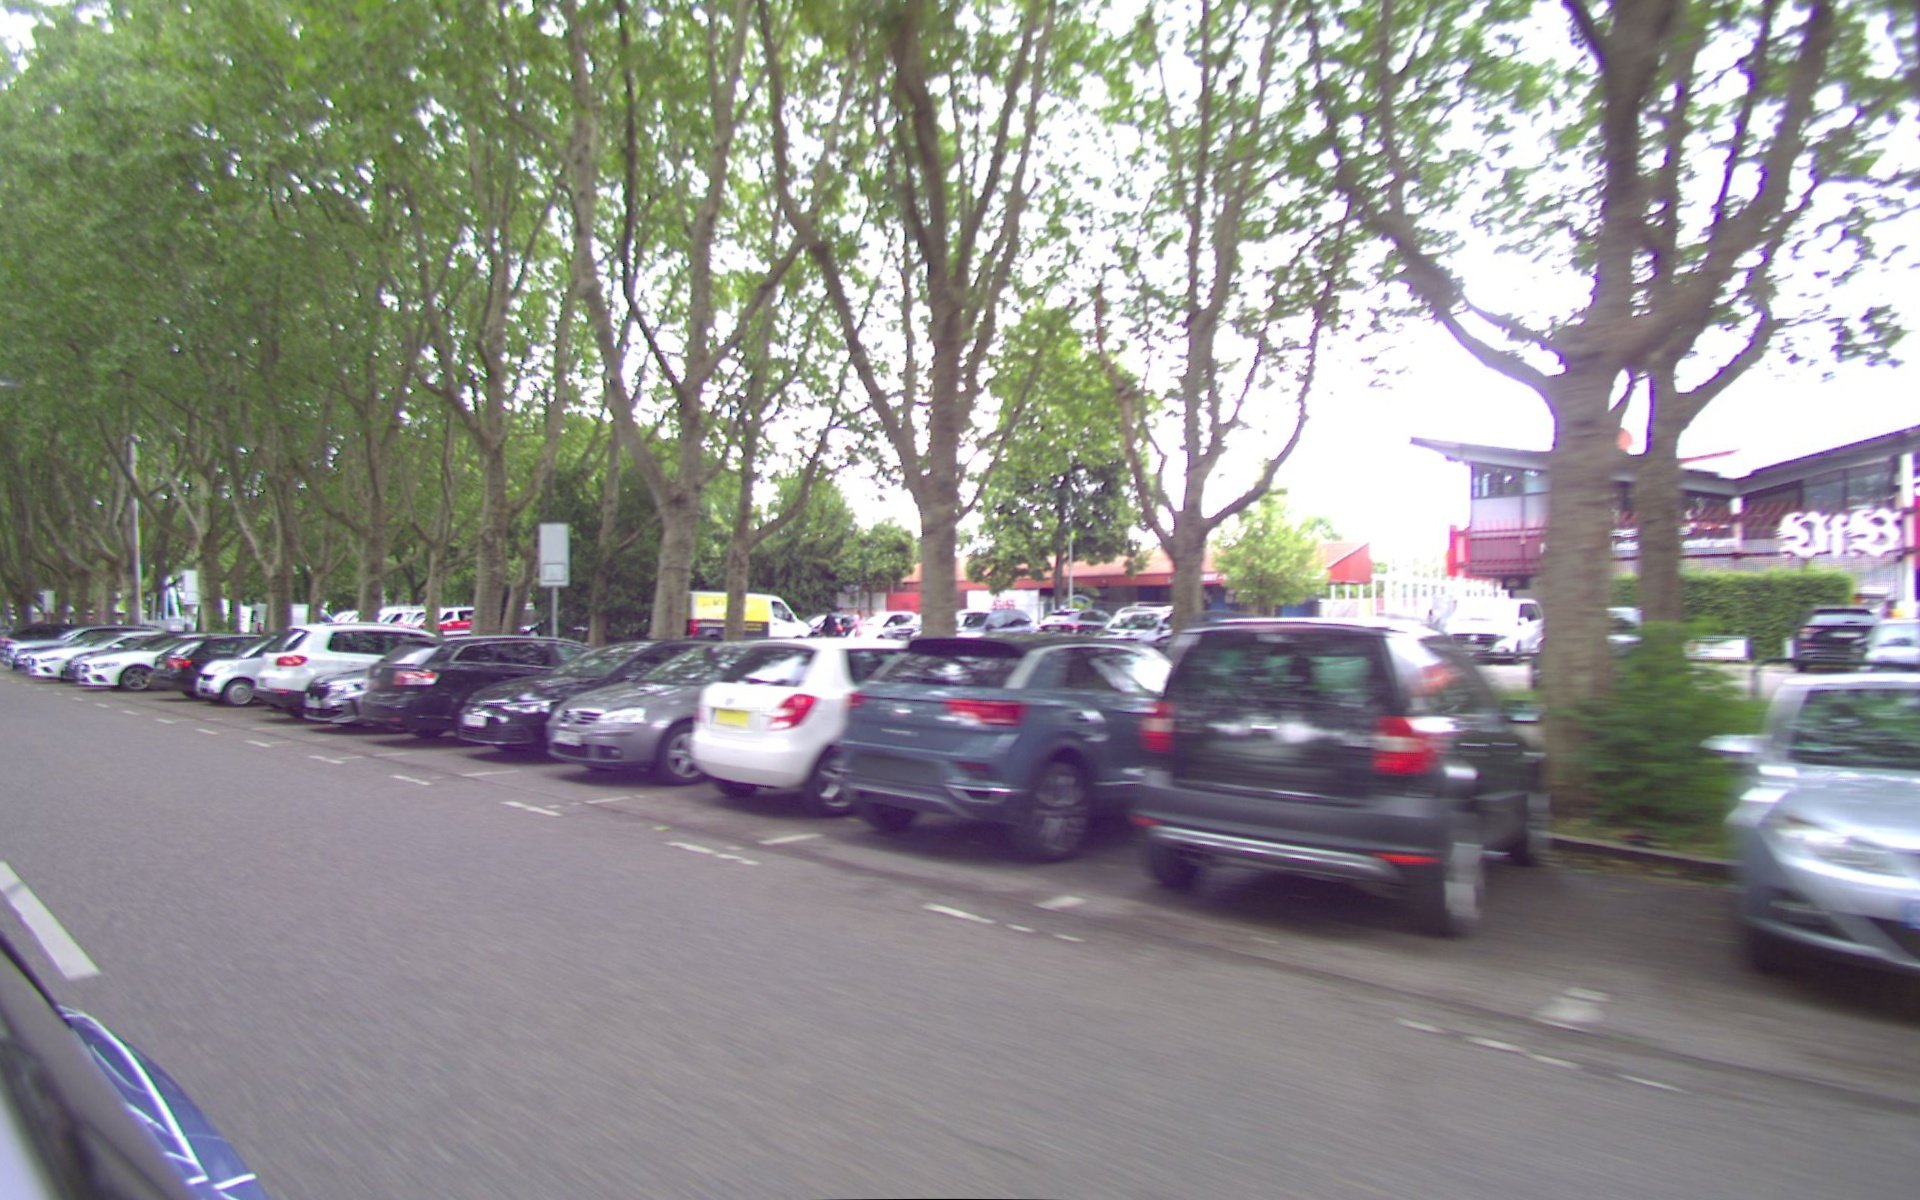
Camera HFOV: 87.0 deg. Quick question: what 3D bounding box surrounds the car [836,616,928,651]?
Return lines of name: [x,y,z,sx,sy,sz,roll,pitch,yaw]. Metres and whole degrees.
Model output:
car: [-3.557,1.532,46.571,1.990,1.460,3.946,-2,-1,41]

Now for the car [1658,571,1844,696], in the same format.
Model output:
car: [13.351,0.491,17.170,2.180,1.810,4.894,-1,0,38]

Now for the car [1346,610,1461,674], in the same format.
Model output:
car: [14.046,1.256,31.909,2.180,1.810,4.894,-1,0,38]

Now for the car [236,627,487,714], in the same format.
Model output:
car: [-11.780,1.309,20.102,1.855,1.464,3.945,-1,-1,42]

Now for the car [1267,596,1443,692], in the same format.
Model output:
car: [8.528,0.832,21.590,2.180,1.810,4.894,-1,0,38]

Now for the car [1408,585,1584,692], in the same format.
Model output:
car: [10.531,0.704,19.678,2.180,1.810,4.894,-2,-2,38]

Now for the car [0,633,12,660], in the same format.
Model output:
car: [-54.117,2.480,54.869,1.847,1.486,3.796,-2,-4,42]

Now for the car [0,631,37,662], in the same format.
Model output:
car: [-48.362,2.279,50.062,1.675,1.550,3.796,-2,-4,42]

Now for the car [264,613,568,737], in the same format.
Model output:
car: [-8.660,1.087,16.351,1.855,1.695,3.945,-1,-1,42]

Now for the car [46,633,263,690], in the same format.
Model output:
car: [-21.787,1.643,27.521,1.783,1.428,4.360,-2,-4,42]

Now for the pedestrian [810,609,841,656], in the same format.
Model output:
pedestrian: [-5.328,1.274,39.995,0.917,1.814,0.808,-1,-1,41]

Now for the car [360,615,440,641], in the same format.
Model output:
car: [-46.862,2.325,84.721,2.391,2.036,5.399,-1,-1,38]

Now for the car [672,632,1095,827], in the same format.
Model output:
car: [-0.571,1.097,9.830,3.947,1.497,1.704,3,-4,-45]

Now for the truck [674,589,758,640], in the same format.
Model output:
truck: [-13.630,0.776,56.674,2.374,2.737,3.947,-1,-1,39]

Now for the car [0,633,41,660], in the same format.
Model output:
car: [-52.074,2.471,53.825,2.090,1.445,4.515,-2,-4,42]

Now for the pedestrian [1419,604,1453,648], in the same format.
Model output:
pedestrian: [18.193,0.977,38.707,0.987,1.670,0.830,-1,-1,40]

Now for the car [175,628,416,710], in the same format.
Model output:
car: [-13.977,1.380,21.449,1.855,1.464,3.945,-1,-1,42]

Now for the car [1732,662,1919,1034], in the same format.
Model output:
car: [5.161,1.030,5.144,1.825,1.375,3.891,-2,-3,39]

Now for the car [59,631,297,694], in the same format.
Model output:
car: [-19.825,1.569,25.848,2.042,1.455,4.370,-1,-3,34]

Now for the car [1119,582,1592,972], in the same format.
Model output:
car: [2.778,0.878,6.568,1.750,1.721,3.891,-2,-3,39]

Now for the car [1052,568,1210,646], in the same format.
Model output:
car: [4.388,0.259,25.383,1.998,1.734,4.508,-1,-3,38]

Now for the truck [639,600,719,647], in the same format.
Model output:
truck: [-16.022,1.302,57.827,2.121,2.628,3.945,-1,-1,41]

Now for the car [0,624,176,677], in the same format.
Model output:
car: [-29.377,1.688,34.035,2.044,1.639,4.367,-2,-3,37]

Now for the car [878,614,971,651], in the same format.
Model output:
car: [-1.511,1.420,44.644,1.936,1.521,3.946,-2,-1,41]

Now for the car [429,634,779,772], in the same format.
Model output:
car: [-4.469,1.193,13.170,1.842,1.379,3.948,-1,0,39]

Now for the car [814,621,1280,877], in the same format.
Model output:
car: [0.894,0.985,8.104,1.728,1.528,3.888,-2,-4,42]

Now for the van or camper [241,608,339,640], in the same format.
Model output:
van or camper: [-46.428,1.646,70.225,2.242,2.115,5.234,-1,-1,38]

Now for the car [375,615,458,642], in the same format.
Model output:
car: [-43.609,2.272,81.283,2.473,2.013,5.399,-1,0,38]

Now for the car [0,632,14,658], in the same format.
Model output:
car: [-57.677,2.604,58.667,1.873,1.525,3.943,-2,-4,42]

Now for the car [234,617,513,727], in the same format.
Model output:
car: [-10.364,1.169,18.086,1.855,1.695,3.945,-1,-1,42]

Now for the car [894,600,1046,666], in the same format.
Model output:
car: [0.371,0.979,28.890,1.998,1.734,4.508,-1,-3,38]

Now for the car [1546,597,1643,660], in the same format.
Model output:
car: [17.847,0.751,28.378,1.997,1.637,3.950,-1,0,37]

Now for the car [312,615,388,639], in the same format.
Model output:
car: [-54.780,2.417,90.987,2.391,2.036,5.399,-1,-1,38]

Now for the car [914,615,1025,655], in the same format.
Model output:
car: [0.479,1.460,43.224,2.181,1.532,4.892,-1,0,39]

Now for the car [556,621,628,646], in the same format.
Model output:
car: [-23.297,2.087,64.202,1.797,1.498,3.951,-1,0,36]

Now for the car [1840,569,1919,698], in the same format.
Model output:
car: [15.338,0.465,15.751,2.180,1.810,4.894,-1,0,38]

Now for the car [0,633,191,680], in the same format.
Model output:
car: [-27.535,1.778,32.303,2.044,1.406,4.366,-2,-3,37]

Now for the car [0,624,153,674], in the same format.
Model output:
car: [-31.497,1.725,35.663,2.044,1.639,4.366,-2,-3,37]

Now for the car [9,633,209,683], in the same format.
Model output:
car: [-25.716,1.748,30.720,1.722,1.406,4.365,-2,-3,38]

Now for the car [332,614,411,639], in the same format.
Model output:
car: [-51.344,2.362,88.380,2.390,2.036,5.399,-1,-3,38]

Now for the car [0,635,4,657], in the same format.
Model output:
car: [-59.461,2.742,59.973,2.000,1.320,3.943,-3,-5,42]

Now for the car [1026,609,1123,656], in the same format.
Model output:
car: [4.402,1.180,38.478,1.996,1.638,3.951,-1,0,36]

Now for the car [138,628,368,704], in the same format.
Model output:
car: [-15.815,1.404,22.777,1.855,1.464,3.945,-1,-1,42]

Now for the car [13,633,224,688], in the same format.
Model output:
car: [-23.922,1.693,28.916,1.774,1.435,4.364,-2,-3,39]

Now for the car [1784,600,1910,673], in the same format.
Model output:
car: [21.676,0.829,24.895,1.997,1.637,3.950,-1,0,37]

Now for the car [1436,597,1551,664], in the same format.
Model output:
car: [15.861,0.824,29.966,2.180,1.810,4.894,-1,0,38]

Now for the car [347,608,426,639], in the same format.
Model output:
car: [-48.921,1.999,86.464,2.391,2.536,5.399,-1,-1,38]

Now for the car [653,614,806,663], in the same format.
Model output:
car: [-8.347,1.340,37.070,2.093,1.608,5.295,-1,0,39]

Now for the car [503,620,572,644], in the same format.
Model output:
car: [-28.669,2.161,68.777,1.797,1.498,3.951,-1,0,36]

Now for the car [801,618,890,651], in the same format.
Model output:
car: [-5.413,1.621,48.143,1.899,1.407,3.946,-2,-1,41]

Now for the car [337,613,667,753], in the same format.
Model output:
car: [-6.479,1.057,14.620,1.855,1.695,3.945,-1,-1,42]

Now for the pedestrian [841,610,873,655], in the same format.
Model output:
pedestrian: [-4.208,1.300,41.225,0.917,1.814,0.932,-1,-1,41]

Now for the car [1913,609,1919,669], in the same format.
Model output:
car: [23.384,0.930,23.135,1.998,1.438,3.948,-1,0,39]

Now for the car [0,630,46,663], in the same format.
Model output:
car: [-46.399,2.225,48.574,1.847,1.590,3.518,-2,-4,42]

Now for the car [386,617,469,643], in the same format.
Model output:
car: [-41.793,2.320,79.539,1.997,1.864,5.399,-1,-1,38]

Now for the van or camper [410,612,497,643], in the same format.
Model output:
van or camper: [-39.246,2.061,78.513,2.328,2.272,5.646,-1,-1,40]

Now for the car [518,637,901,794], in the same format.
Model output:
car: [-2.622,1.158,11.384,1.701,1.431,3.953,-2,-3,39]
